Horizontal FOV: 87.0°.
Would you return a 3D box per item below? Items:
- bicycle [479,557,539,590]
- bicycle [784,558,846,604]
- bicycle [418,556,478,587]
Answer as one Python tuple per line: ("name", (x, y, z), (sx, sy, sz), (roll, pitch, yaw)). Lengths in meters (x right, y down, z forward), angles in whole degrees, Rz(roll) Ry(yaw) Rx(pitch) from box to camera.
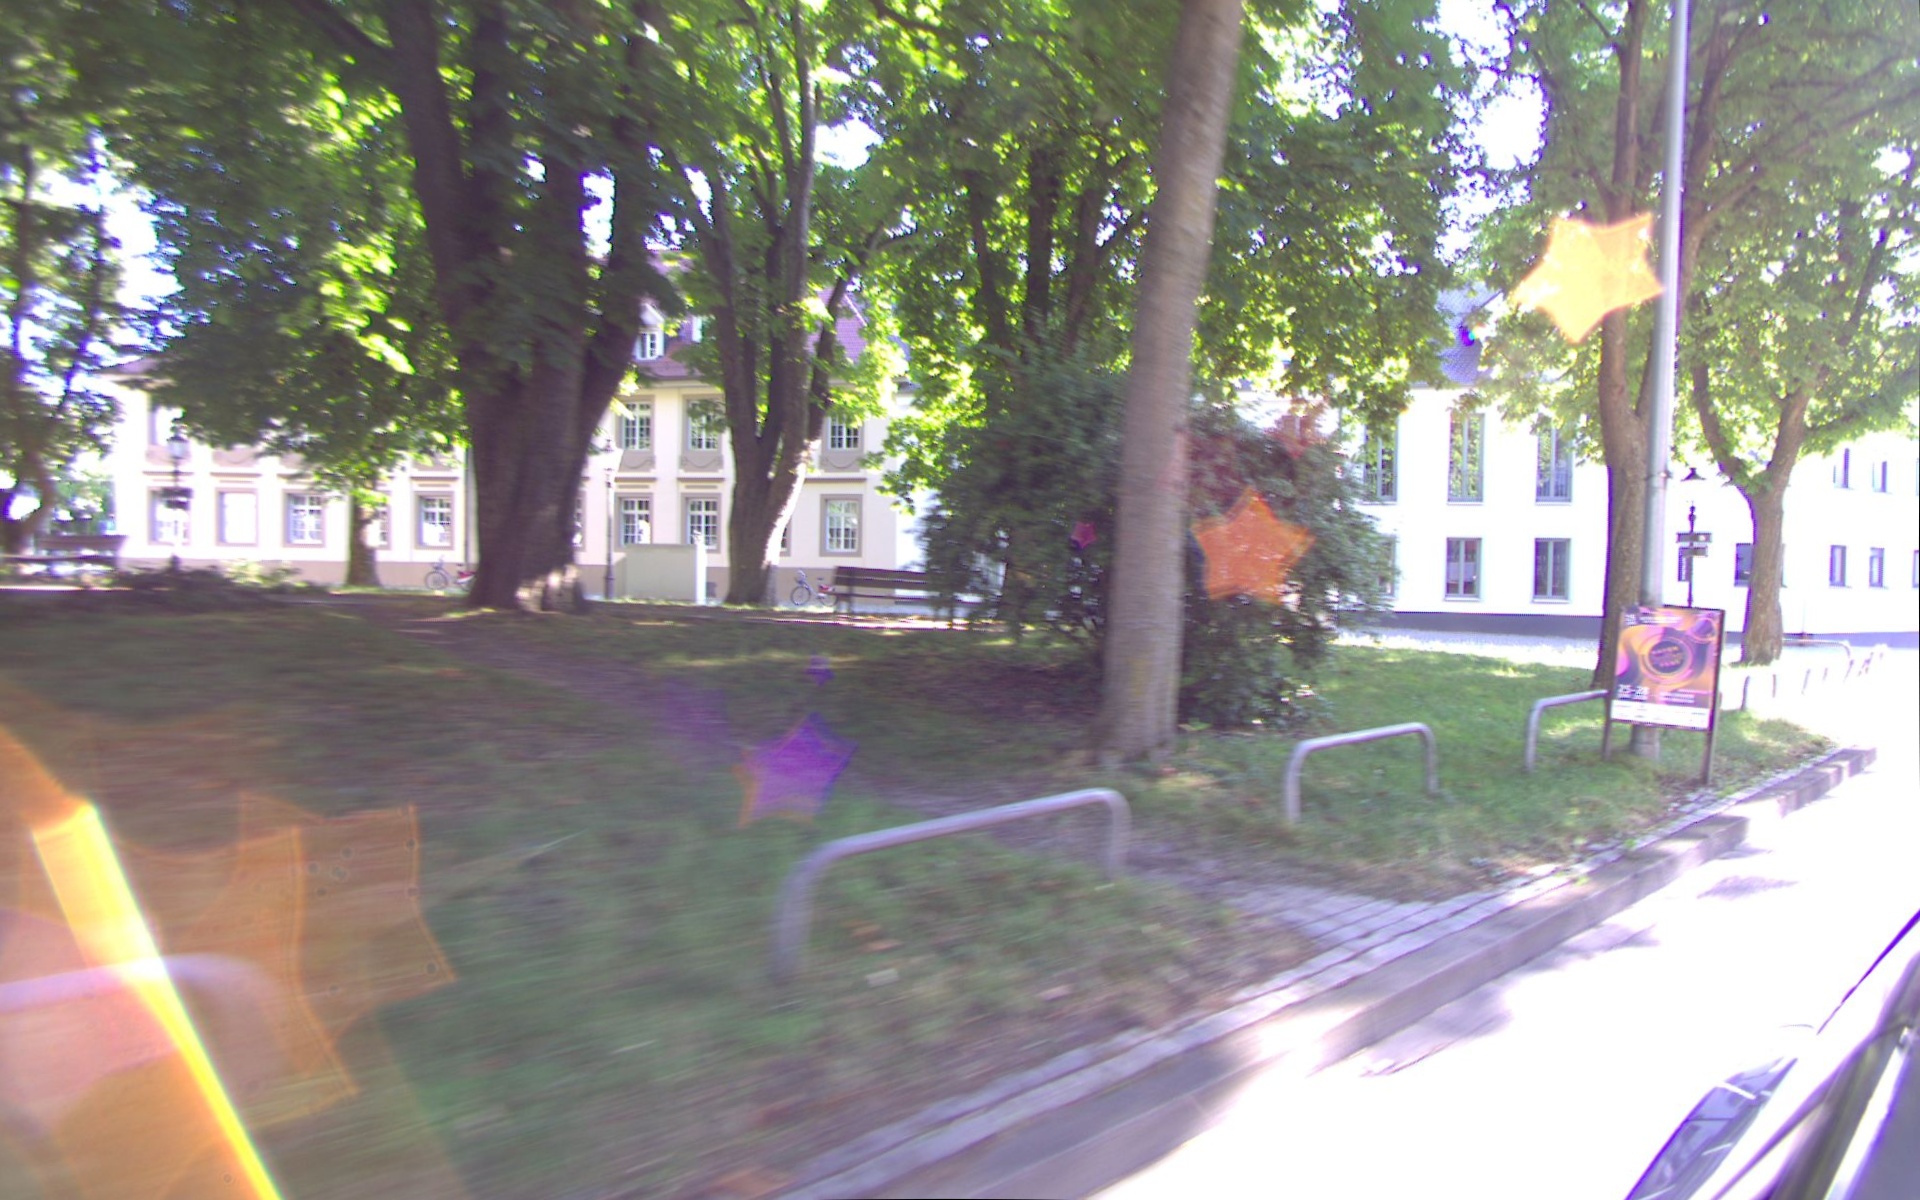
("bicycle", (-15.177, -0.903, 34.077), (1.736, 1.045, 0.720), (2, 2, 11))
("bicycle", (-4.501, -0.604, 31.437), (1.742, 1.333, 0.718), (3, 2, 20))
("bicycle", (-17.088, -0.963, 33.786), (1.723, 0.970, 0.517), (1, 2, -17))
